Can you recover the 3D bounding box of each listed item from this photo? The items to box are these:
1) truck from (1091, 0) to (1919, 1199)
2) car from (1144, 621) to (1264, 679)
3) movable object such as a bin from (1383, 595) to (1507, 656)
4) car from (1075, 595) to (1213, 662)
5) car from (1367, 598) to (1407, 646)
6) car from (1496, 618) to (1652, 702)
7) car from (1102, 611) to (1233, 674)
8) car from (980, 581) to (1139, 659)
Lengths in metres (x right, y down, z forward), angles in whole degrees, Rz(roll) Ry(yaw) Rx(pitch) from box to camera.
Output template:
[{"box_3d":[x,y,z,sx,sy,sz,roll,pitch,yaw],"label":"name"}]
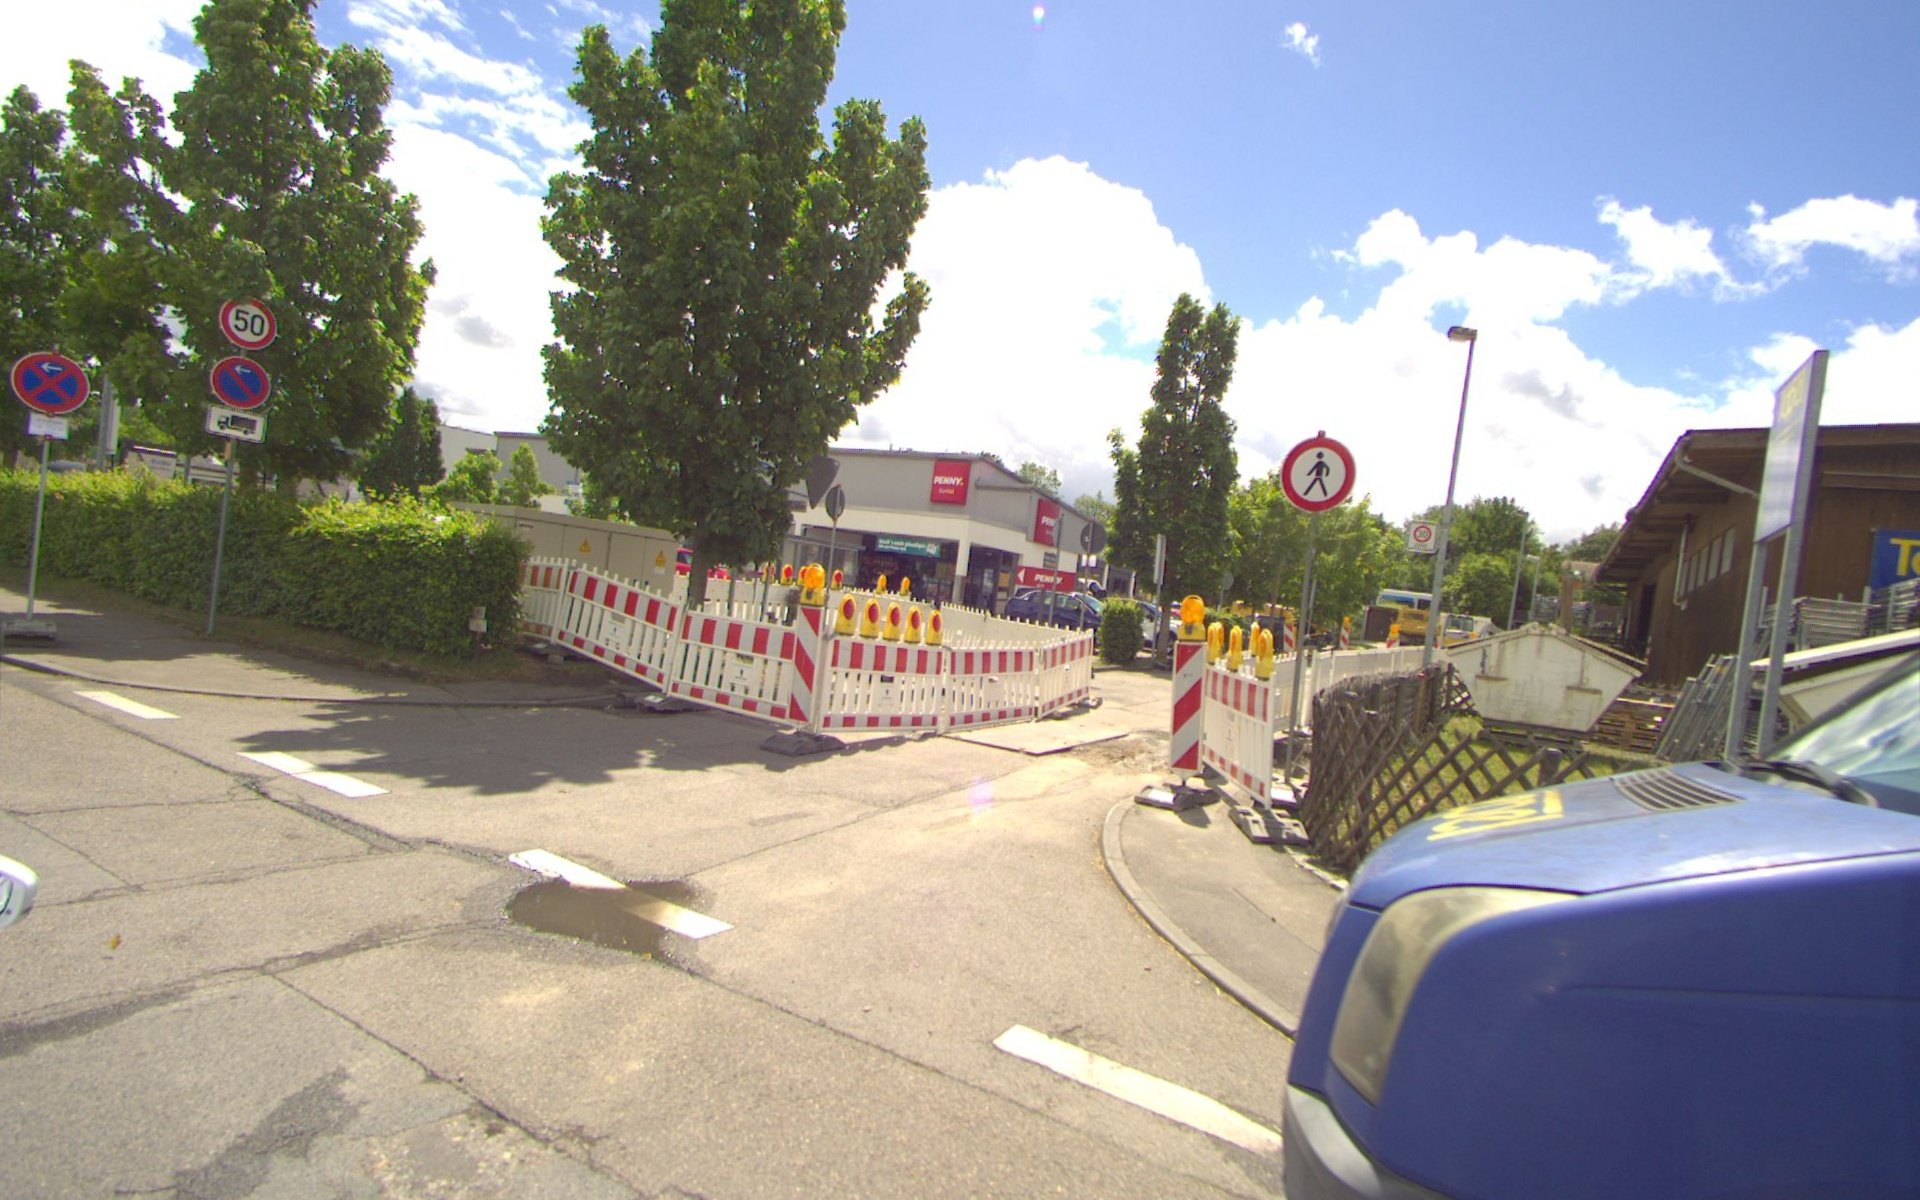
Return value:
[{"box_3d":[3.443,0.375,1.056,5.942,3.133,2.325,7,-1,32],"label":"truck"},{"box_3d":[9.223,1.884,38.103,3.936,1.603,1.749,7,-2,34],"label":"car"},{"box_3d":[31.137,1.644,64.525,6.584,2.793,3.939,7,-2,31],"label":"movable object such as a bin"},{"box_3d":[5.985,0.916,32.886,3.936,1.603,1.749,7,-2,34],"label":"car"},{"box_3d":[31.994,1.692,75.317,1.901,2.955,5.170,7,-2,30],"label":"car"},{"box_3d":[19.386,1.905,31.930,3.933,2.037,1.908,7,-2,31],"label":"car"},{"box_3d":[7.205,1.466,35.012,3.936,1.603,1.749,7,-2,34],"label":"car"},{"box_3d":[2.778,0.554,28.361,3.936,1.603,1.749,7,-2,34],"label":"car"}]
